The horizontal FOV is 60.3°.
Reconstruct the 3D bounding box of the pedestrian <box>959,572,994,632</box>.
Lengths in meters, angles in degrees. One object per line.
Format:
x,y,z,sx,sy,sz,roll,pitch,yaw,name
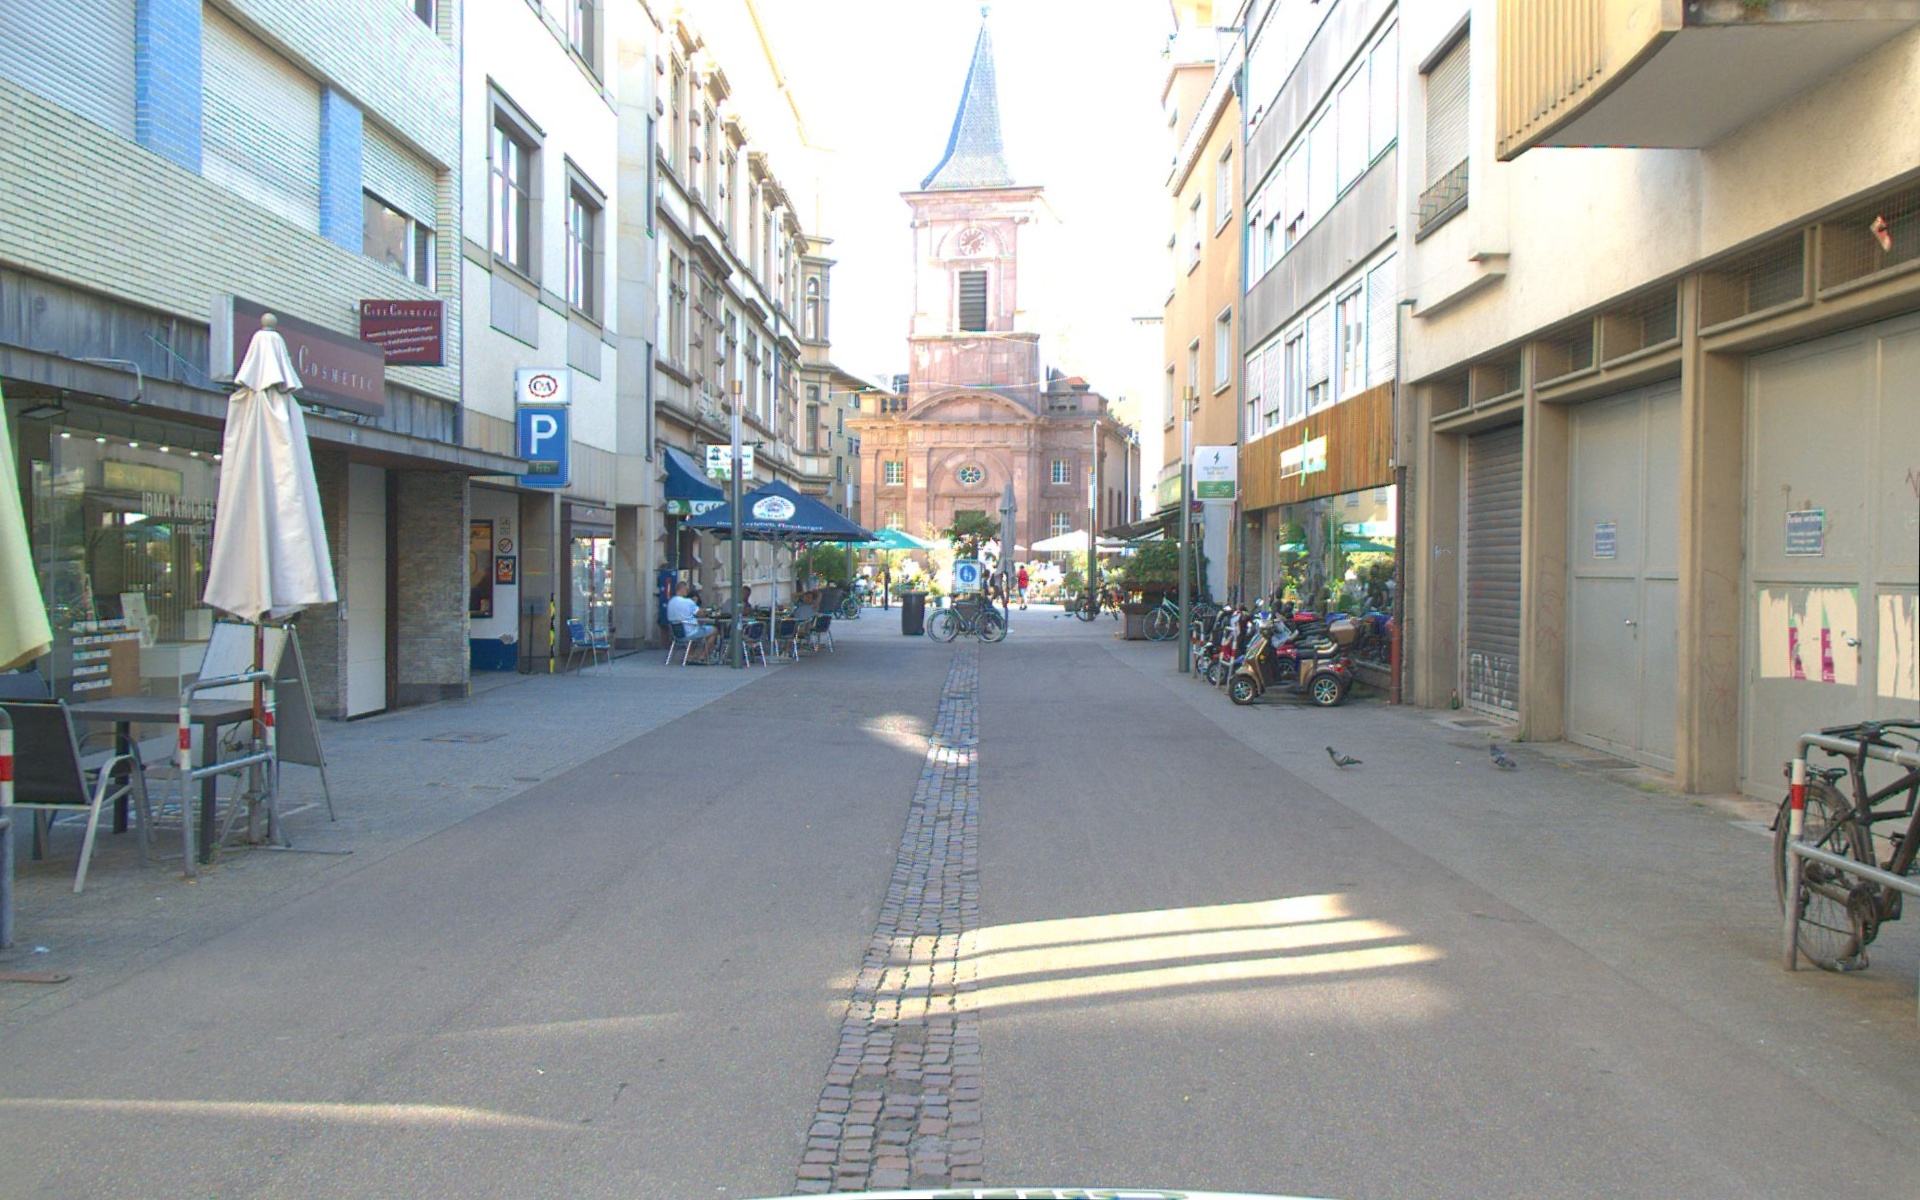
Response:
0.424,0.042,41.498,0.865,1.489,0.731,0,1,1,pedestrian

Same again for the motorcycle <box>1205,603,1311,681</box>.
4.265,0.592,23.685,1.452,1.094,0.412,0,0,19,motorcycle

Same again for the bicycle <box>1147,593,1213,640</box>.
4.865,0.356,36.608,1.432,1.022,0.573,0,1,7,bicycle

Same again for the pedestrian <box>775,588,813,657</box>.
-3.035,0.408,30.178,0.679,1.236,0.582,0,1,-8,pedestrian

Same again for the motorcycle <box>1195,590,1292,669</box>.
4.392,0.454,25.636,1.452,1.202,0.412,0,0,16,motorcycle

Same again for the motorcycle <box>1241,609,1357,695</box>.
4.440,0.664,21.674,1.452,1.094,0.412,0,0,19,motorcycle

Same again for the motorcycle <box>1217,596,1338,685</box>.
4.401,0.546,22.912,1.590,1.195,0.481,0,0,19,motorcycle

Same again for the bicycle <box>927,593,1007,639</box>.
0.161,0.368,37.379,1.787,1.022,0.381,0,1,-3,bicycle

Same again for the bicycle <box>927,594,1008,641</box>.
0.155,0.396,36.969,1.787,1.022,0.381,0,1,-3,bicycle

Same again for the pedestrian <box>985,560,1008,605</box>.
1.308,-0.617,58.612,0.767,1.583,0.535,0,1,5,pedestrian

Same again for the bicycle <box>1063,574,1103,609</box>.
4.658,-0.324,62.691,1.568,1.330,0.362,0,1,-29,bicycle

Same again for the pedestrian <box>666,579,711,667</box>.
-4.381,0.355,26.653,0.695,1.392,0.718,0,1,-12,pedestrian

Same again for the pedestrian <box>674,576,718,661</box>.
-4.431,0.301,27.712,0.705,1.392,0.708,0,1,-12,pedestrian

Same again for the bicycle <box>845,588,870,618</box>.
-3.049,0.072,49.313,0.447,0.864,2.148,0,1,4,bicycle

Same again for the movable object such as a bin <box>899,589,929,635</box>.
-1.117,0.292,40.258,0.707,1.093,0.374,0,1,-1,movable object such as a bin

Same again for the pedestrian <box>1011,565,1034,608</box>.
2.423,-0.522,63.718,0.646,1.669,0.609,1,1,43,pedestrian

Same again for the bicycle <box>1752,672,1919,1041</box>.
3.431,0.875,5.999,0.437,1.160,1.711,1,0,6,bicycle

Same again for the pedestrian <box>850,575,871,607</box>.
-3.825,-0.350,63.469,0.685,1.239,0.720,0,1,6,pedestrian

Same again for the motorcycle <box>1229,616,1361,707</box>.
4.042,0.729,19.965,1.531,1.060,0.373,0,0,19,motorcycle

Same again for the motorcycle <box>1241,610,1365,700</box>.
4.286,0.673,20.674,1.485,1.094,0.412,0,0,19,motorcycle

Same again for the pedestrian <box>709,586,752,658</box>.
-4.085,0.388,29.469,0.750,1.254,0.830,0,1,-7,pedestrian

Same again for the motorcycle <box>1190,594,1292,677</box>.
4.179,0.521,24.573,1.452,1.202,0.412,0,0,16,motorcycle
